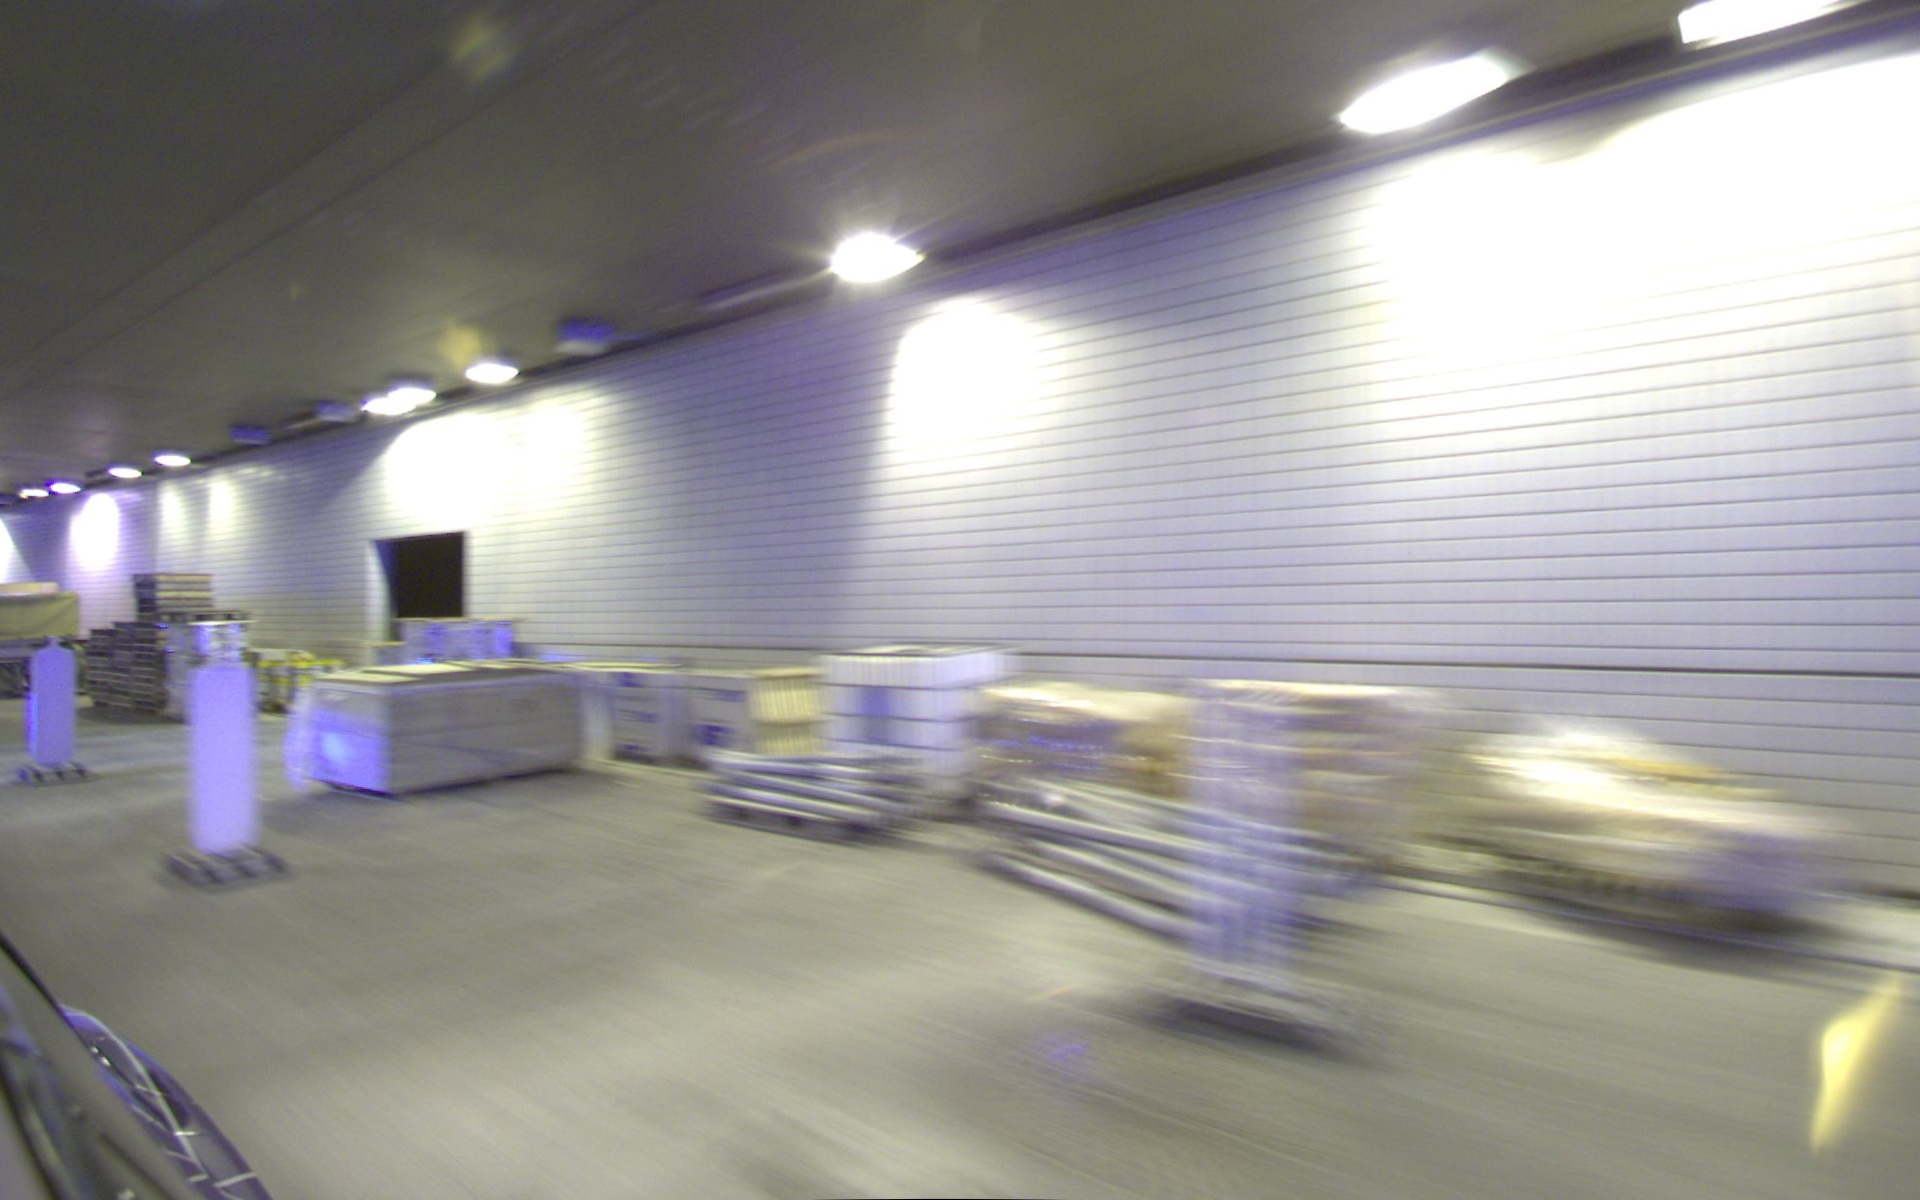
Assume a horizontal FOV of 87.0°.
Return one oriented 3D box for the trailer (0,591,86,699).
[{"bbox_3d":[-19.361,0.848,20.027,3.454,2.029,2.192,0,0,31],"label":"trailer"}]
